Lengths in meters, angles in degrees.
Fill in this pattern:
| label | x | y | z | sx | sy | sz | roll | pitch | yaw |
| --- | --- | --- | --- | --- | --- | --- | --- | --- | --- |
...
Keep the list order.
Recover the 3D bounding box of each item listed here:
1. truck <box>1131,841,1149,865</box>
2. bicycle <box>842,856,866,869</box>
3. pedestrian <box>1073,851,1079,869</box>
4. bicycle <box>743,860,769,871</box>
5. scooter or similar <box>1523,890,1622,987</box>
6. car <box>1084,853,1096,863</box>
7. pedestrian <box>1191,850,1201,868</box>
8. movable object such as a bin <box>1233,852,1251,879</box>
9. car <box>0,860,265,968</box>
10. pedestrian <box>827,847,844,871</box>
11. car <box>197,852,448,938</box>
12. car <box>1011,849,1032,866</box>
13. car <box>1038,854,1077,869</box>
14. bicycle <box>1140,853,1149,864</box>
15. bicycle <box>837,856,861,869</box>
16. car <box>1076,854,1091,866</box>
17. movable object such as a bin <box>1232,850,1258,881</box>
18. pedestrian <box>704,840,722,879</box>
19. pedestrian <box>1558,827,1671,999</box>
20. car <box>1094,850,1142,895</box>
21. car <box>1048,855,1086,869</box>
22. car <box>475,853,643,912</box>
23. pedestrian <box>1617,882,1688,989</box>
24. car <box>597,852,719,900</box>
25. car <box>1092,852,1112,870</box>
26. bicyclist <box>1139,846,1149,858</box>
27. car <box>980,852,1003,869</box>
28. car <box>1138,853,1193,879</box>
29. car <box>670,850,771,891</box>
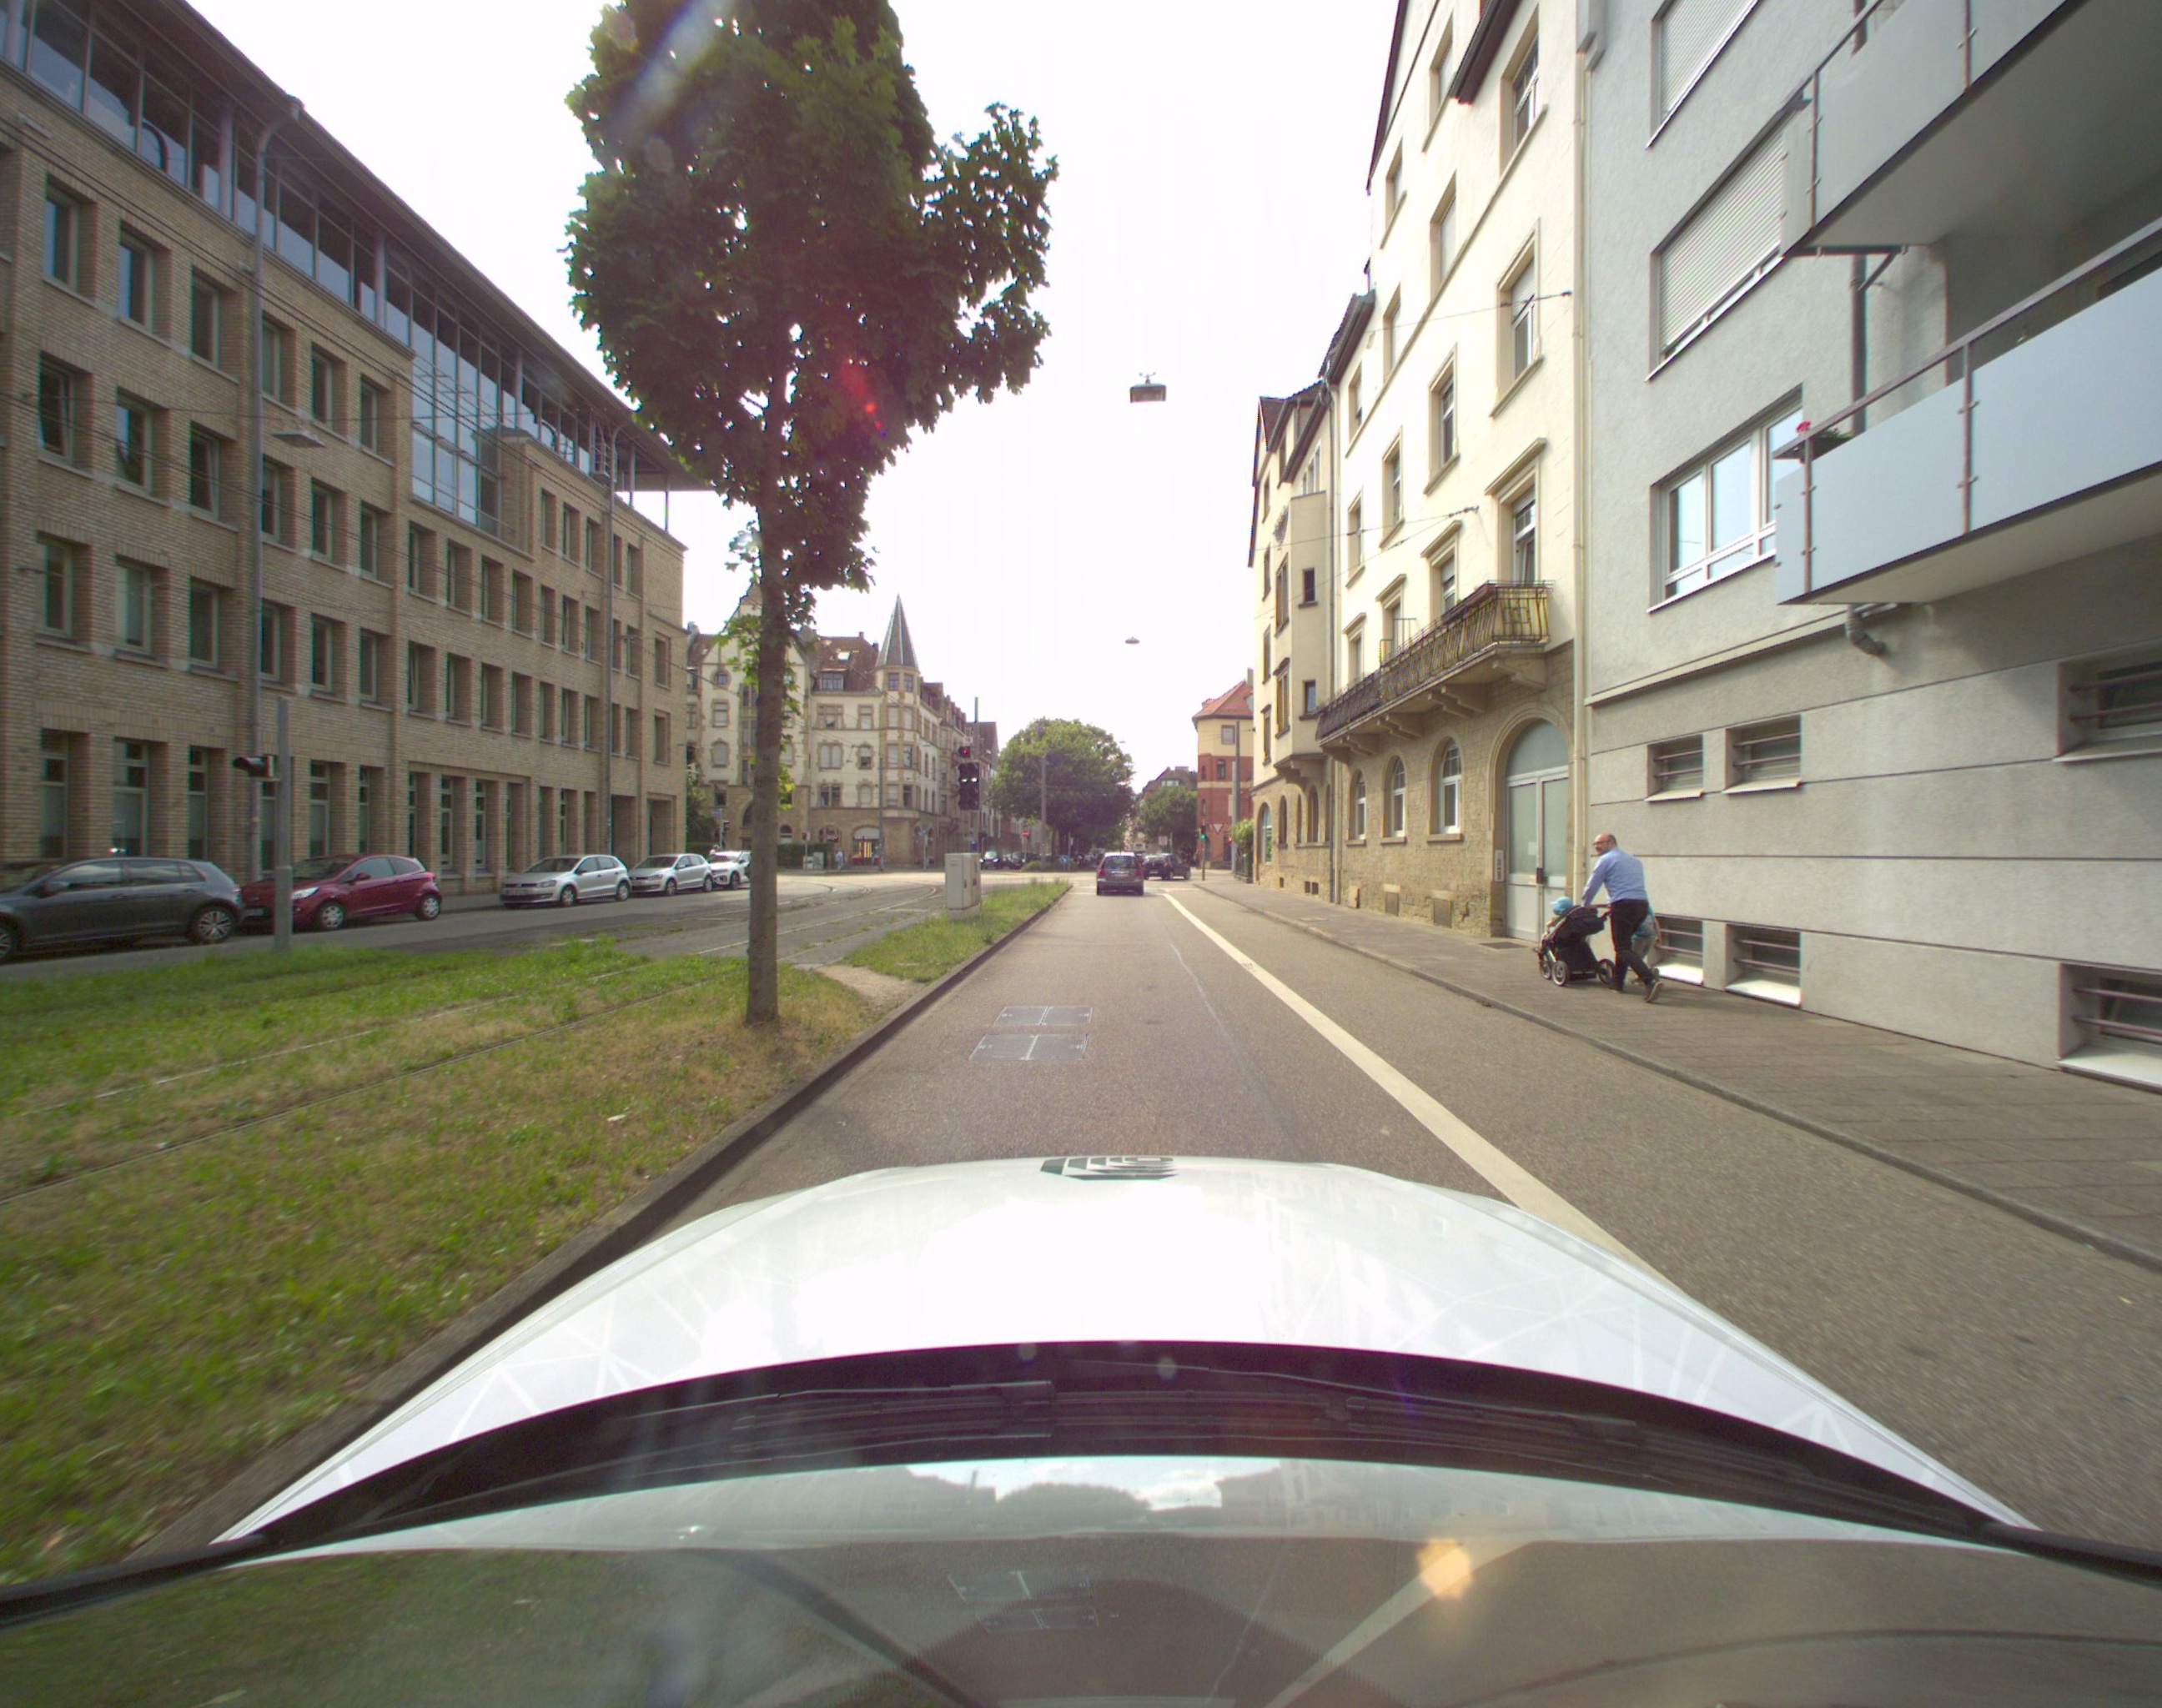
| label | x | y | z | sx | sy | sz | roll | pitch | yaw |
| --- | --- | --- | --- | --- | --- | --- | --- | --- | --- |
| truck | 7.368 | -0.121 | 101.725 | 2.112 | 2.970 | 4.007 | -1 | 0 | 6 |
| bicycle | -20.072 | 0.750 | 72.095 | 1.915 | 1.081 | 0.776 | -1 | 0 | -8 |
| pedestrian | -0.480 | 0.592 | 78.900 | 0.491 | 1.725 | 0.654 | 0 | 0 | 0 |
| bicycle | -26.642 | 0.925 | 66.712 | 1.915 | 0.848 | 0.469 | -1 | 0 | -8 |
| scooter or similar | 5.737 | 0.962 | 9.554 | 0.590 | 1.002 | 0.906 | -4 | 0 | 3 |
| car | 1.450 | 0.642 | 126.264 | 1.745 | 1.517 | 3.502 | 0 | 0 | 3 |
| pedestrian | 10.432 | 0.469 | 74.070 | 0.864 | 1.656 | 0.738 | 0 | 0 | 7 |
| movable object such as a bin | 8.683 | 0.616 | 43.976 | 0.713 | 1.472 | 0.980 | -1 | 0 | -6 |
| car | -15.112 | 0.799 | 11.903 | 1.924 | 1.396 | 4.243 | 0 | 0 | 4 |
| pedestrian | -18.477 | 0.373 | 61.280 | 1.029 | 1.722 | 0.767 | 0 | 0 | -42 |
| car | -14.992 | 0.732 | 16.383 | 1.576 | 1.530 | 3.553 | 0 | 0 | 4 |
| car | -6.046 | 0.367 | 82.758 | 1.989 | 1.728 | 3.996 | -1 | 0 | -3 |
| car | -2.386 | 0.736 | 81.274 | 1.983 | 1.495 | 3.956 | 0 | 0 | -37 |
| bicycle | 5.745 | 0.418 | 73.939 | 0.745 | 0.958 | 2.303 | -1 | 0 | 6 |
| bicycle | -19.863 | 0.743 | 69.705 | 1.915 | 1.081 | 0.776 | -1 | 0 | -8 |
| car | 0.376 | 0.765 | 105.660 | 1.745 | 1.633 | 3.502 | 0 | 0 | 3 |
| movable object such as a bin | 8.376 | 0.562 | 41.664 | 1.045 | 1.539 | 2.102 | -1 | 0 | 5 |
| pedestrian | -17.297 | 0.249 | 38.297 | 0.763 | 1.795 | 0.953 | 0 | 0 | -23 |
| pedestrian | 5.713 | 0.607 | 8.764 | 0.618 | 1.738 | 0.878 | -2 | 0 | 3 |
| car | 1.467 | 0.666 | 31.259 | 1.715 | 1.605 | 3.680 | -1 | 0 | 3 |
| car | -1.490 | 0.807 | 83.860 | 1.983 | 1.339 | 3.956 | 0 | 0 | -37 |
| car | -14.586 | 0.727 | 23.084 | 1.843 | 1.530 | 4.214 | 0 | 0 | 4 |
| pedestrian | 6.357 | 0.890 | 9.077 | 0.454 | 1.135 | 0.494 | 0 | 0 | 3 |
| car | -14.556 | 0.701 | 28.284 | 1.924 | 1.530 | 4.018 | 0 | 0 | 4 |
| car | 2.078 | 0.700 | 79.746 | 1.715 | 1.706 | 3.680 | -1 | 0 | 3 |
| bicyclist | 5.733 | -0.195 | 73.816 | 0.832 | 1.082 | 1.402 | -1 | 0 | 6 |
| car | -8.852 | 0.622 | 81.158 | 1.989 | 1.618 | 3.996 | -1 | 0 | -3 |
| car | 4.912 | 0.665 | 47.058 | 1.962 | 1.442 | 4.023 | 0 | 0 | 24 |
| car | -14.327 | 0.604 | 32.679 | 1.924 | 1.535 | 4.262 | 0 | 0 | 4 |
